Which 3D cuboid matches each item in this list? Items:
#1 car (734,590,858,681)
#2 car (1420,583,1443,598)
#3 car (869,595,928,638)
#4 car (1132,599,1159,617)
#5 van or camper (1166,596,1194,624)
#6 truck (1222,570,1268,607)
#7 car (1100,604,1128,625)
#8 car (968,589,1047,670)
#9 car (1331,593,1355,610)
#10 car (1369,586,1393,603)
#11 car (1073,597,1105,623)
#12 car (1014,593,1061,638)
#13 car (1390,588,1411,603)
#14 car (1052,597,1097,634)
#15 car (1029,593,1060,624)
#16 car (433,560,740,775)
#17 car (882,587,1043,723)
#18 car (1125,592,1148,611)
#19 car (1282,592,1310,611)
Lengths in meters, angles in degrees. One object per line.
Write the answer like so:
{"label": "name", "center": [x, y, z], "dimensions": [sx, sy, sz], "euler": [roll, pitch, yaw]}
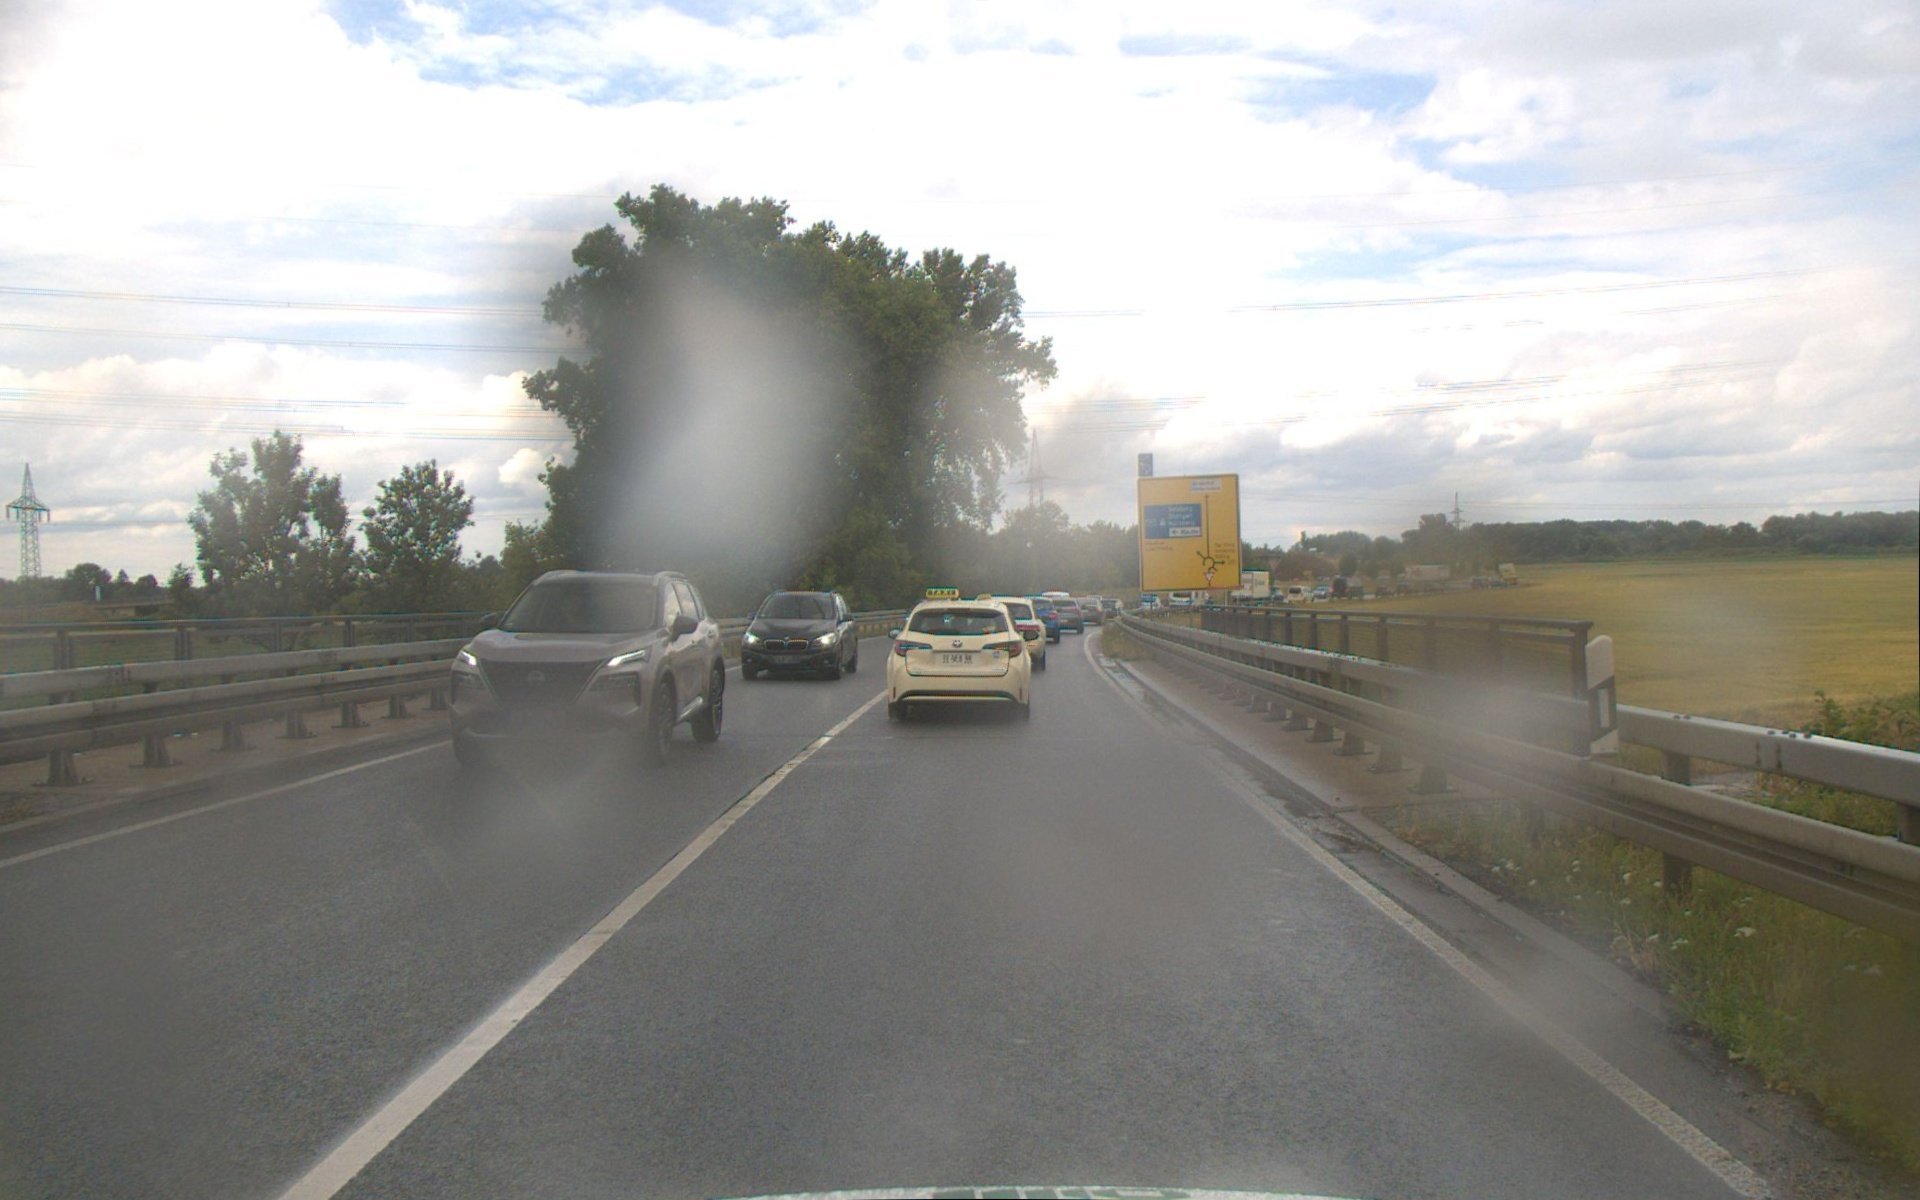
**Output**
{"label": "car", "center": [-2.976, 0.600, 30.794], "dimensions": [1.860, 1.568, 4.023], "euler": [1, 0, 0]}
{"label": "car", "center": [66.497, -1.367, 233.145], "dimensions": [1.960, 2.049, 3.984], "euler": [0, -1, 36]}
{"label": "car", "center": [-2.166, 0.584, 59.202], "dimensions": [1.797, 1.468, 4.104], "euler": [1, 0, 2]}
{"label": "car", "center": [14.076, 0.601, 125.511], "dimensions": [1.451, 1.332, 3.479], "euler": [0, 0, 16]}
{"label": "van or camper", "center": [18.788, 0.868, 141.216], "dimensions": [1.951, 2.293, 4.003], "euler": [0, -1, 14]}
{"label": "truck", "center": [29.105, -1.175, 168.636], "dimensions": [3.076, 3.624, 7.519], "euler": [0, -1, 23]}
{"label": "car", "center": [10.064, 0.952, 107.926], "dimensions": [1.451, 1.332, 3.479], "euler": [0, 0, 12]}
{"label": "car", "center": [1.038, 0.593, 34.653], "dimensions": [1.545, 1.600, 3.683], "euler": [0, 0, 3]}
{"label": "car", "center": [47.321, 0.178, 204.235], "dimensions": [1.955, 2.049, 3.994], "euler": [0, -1, 28]}
{"label": "car", "center": [55.202, -0.720, 216.917], "dimensions": [2.182, 2.049, 3.995], "euler": [0, -1, 27]}
{"label": "car", "center": [7.274, 0.577, 92.955], "dimensions": [1.625, 1.434, 3.907], "euler": [0, -1, 7]}
{"label": "car", "center": [2.552, 0.510, 55.056], "dimensions": [1.474, 1.462, 3.356], "euler": [1, 0, 2]}
{"label": "car", "center": [59.880, -0.597, 224.646], "dimensions": [1.955, 2.049, 3.995], "euler": [0, -1, 27]}
{"label": "car", "center": [4.843, 0.637, 69.692], "dimensions": [1.629, 1.490, 3.479], "euler": [0, 0, 8]}
{"label": "car", "center": [5.532, 0.549, 107.775], "dimensions": [1.822, 1.925, 4.492], "euler": [0, 0, 5]}
{"label": "car", "center": [-3.338, 0.523, 15.676], "dimensions": [1.803, 1.730, 4.390], "euler": [1, 1, 1]}
{"label": "car", "center": [0.052, 0.642, 21.223], "dimensions": [1.867, 1.564, 4.161], "euler": [0, 0, 1]}
{"label": "car", "center": [16.689, 0.129, 156.535], "dimensions": [1.485, 1.751, 3.422], "euler": [0, -1, 18]}
{"label": "car", "center": [38.317, 0.183, 188.696], "dimensions": [2.125, 2.049, 3.994], "euler": [0, -1, 28]}
